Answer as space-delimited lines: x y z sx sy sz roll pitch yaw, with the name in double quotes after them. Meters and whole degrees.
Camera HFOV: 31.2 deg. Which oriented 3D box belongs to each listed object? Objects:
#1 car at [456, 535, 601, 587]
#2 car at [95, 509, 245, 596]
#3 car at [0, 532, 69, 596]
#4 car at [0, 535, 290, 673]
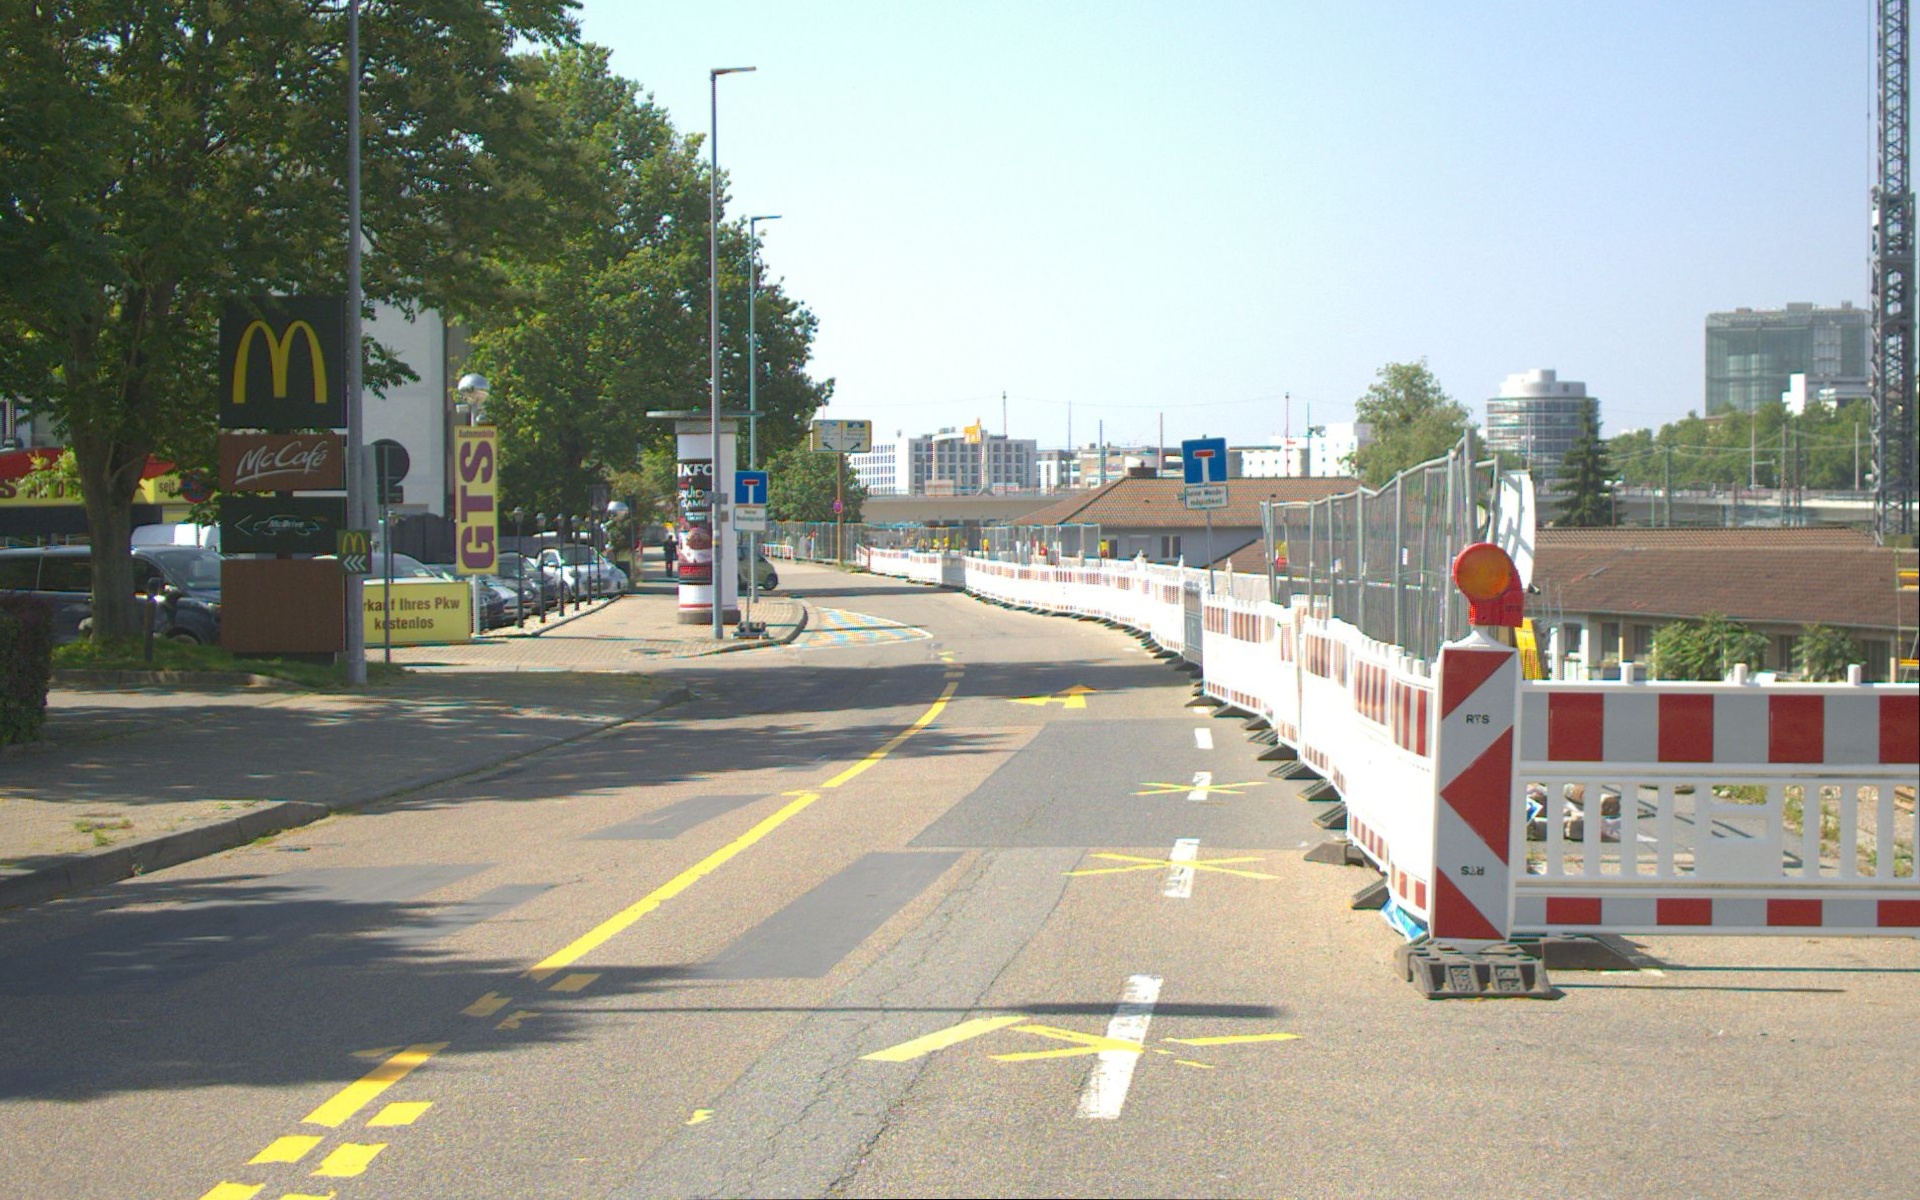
-12.020 -1.091 95.754 3.679 1.416 1.571 0 1 18 "car"
-17.881 -1.080 77.718 1.994 1.897 4.000 -1 1 -34 "car"
-21.441 -0.828 77.673 1.567 1.416 3.688 -1 1 -31 "car"
-12.688 0.044 50.195 5.364 1.928 2.000 0 1 4 "car"
